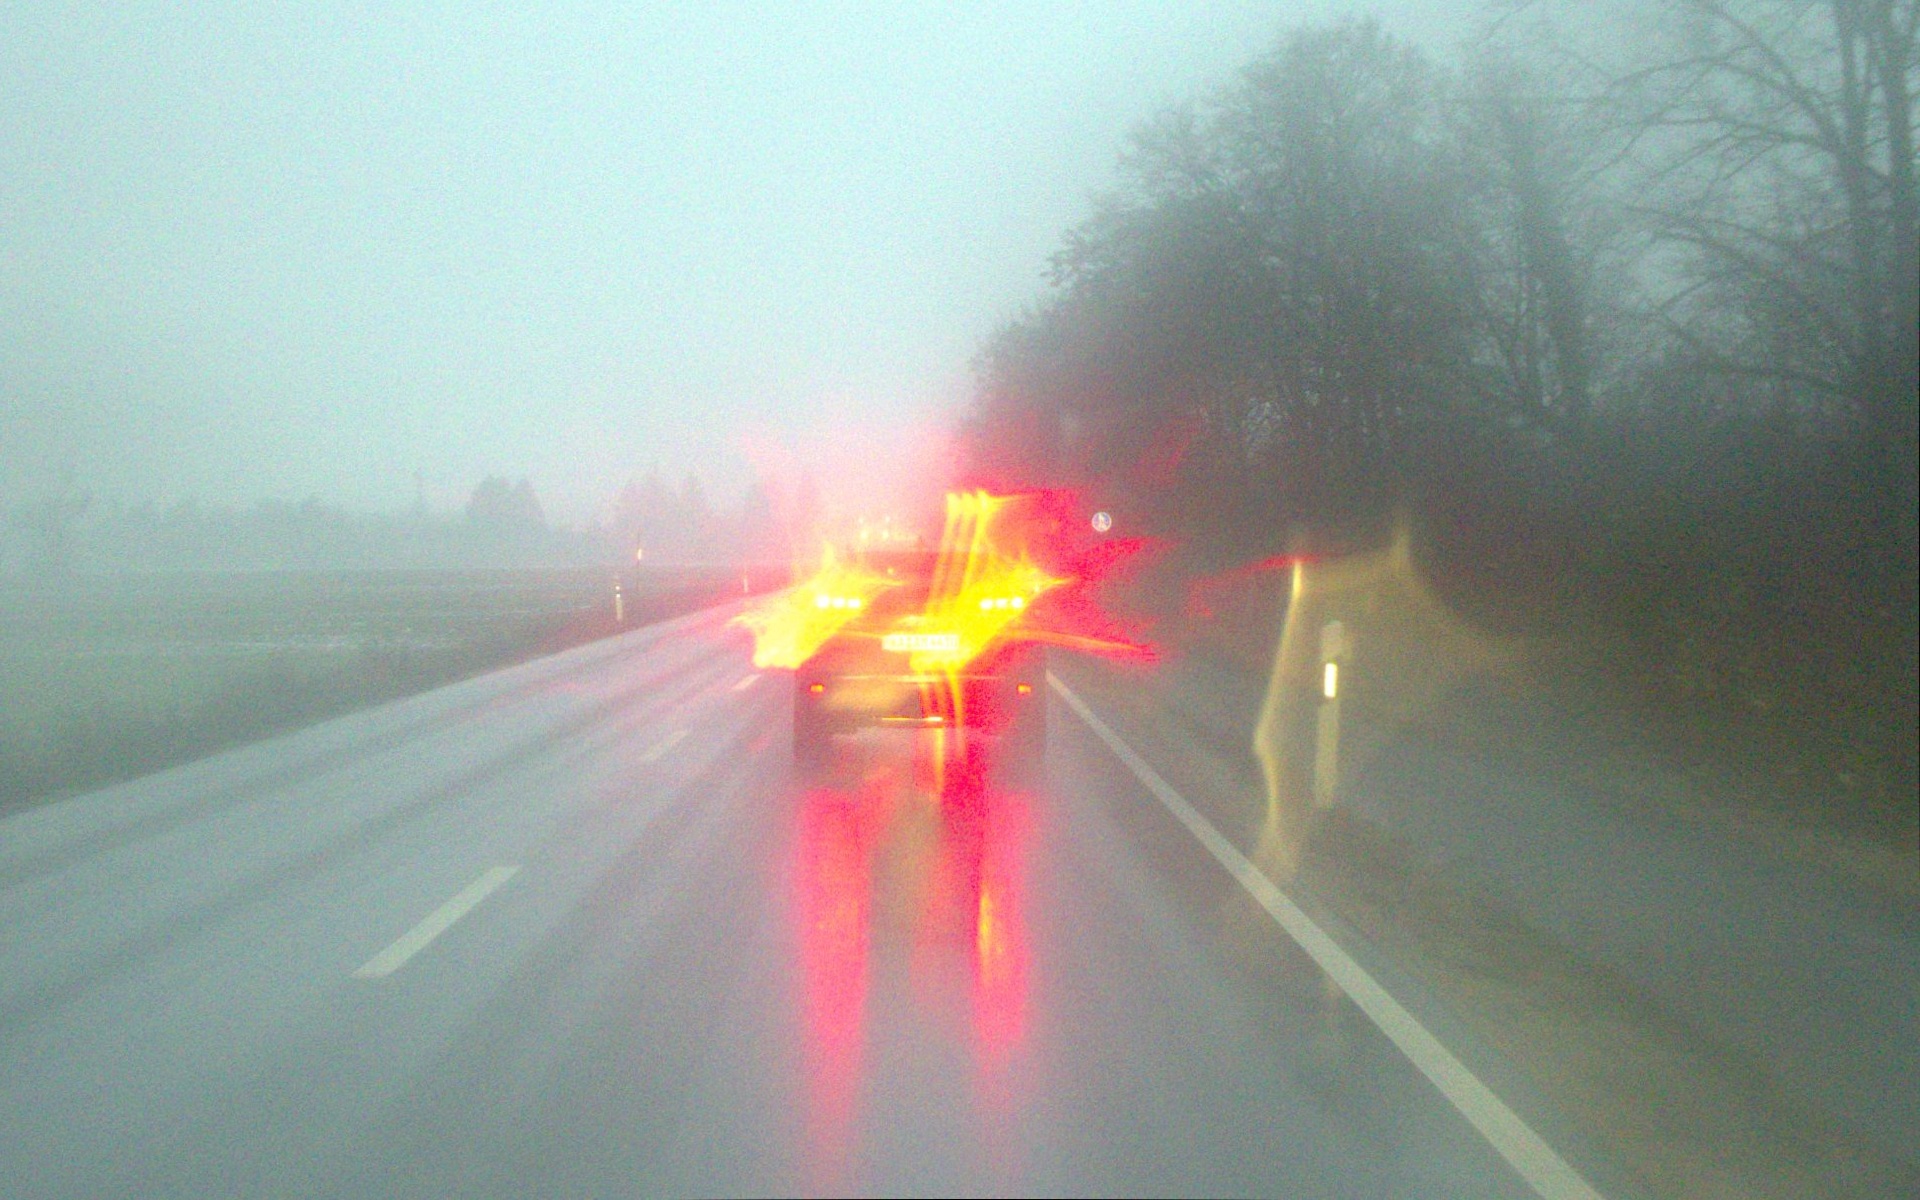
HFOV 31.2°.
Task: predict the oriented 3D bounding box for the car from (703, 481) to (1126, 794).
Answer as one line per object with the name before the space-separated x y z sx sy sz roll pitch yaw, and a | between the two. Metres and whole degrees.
car | -0.315 0.222 26.090 2.820 2.070 5.804 1 1 0

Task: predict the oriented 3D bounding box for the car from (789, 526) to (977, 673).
car | -1.074 -0.034 50.778 2.592 2.007 5.804 1 1 0
